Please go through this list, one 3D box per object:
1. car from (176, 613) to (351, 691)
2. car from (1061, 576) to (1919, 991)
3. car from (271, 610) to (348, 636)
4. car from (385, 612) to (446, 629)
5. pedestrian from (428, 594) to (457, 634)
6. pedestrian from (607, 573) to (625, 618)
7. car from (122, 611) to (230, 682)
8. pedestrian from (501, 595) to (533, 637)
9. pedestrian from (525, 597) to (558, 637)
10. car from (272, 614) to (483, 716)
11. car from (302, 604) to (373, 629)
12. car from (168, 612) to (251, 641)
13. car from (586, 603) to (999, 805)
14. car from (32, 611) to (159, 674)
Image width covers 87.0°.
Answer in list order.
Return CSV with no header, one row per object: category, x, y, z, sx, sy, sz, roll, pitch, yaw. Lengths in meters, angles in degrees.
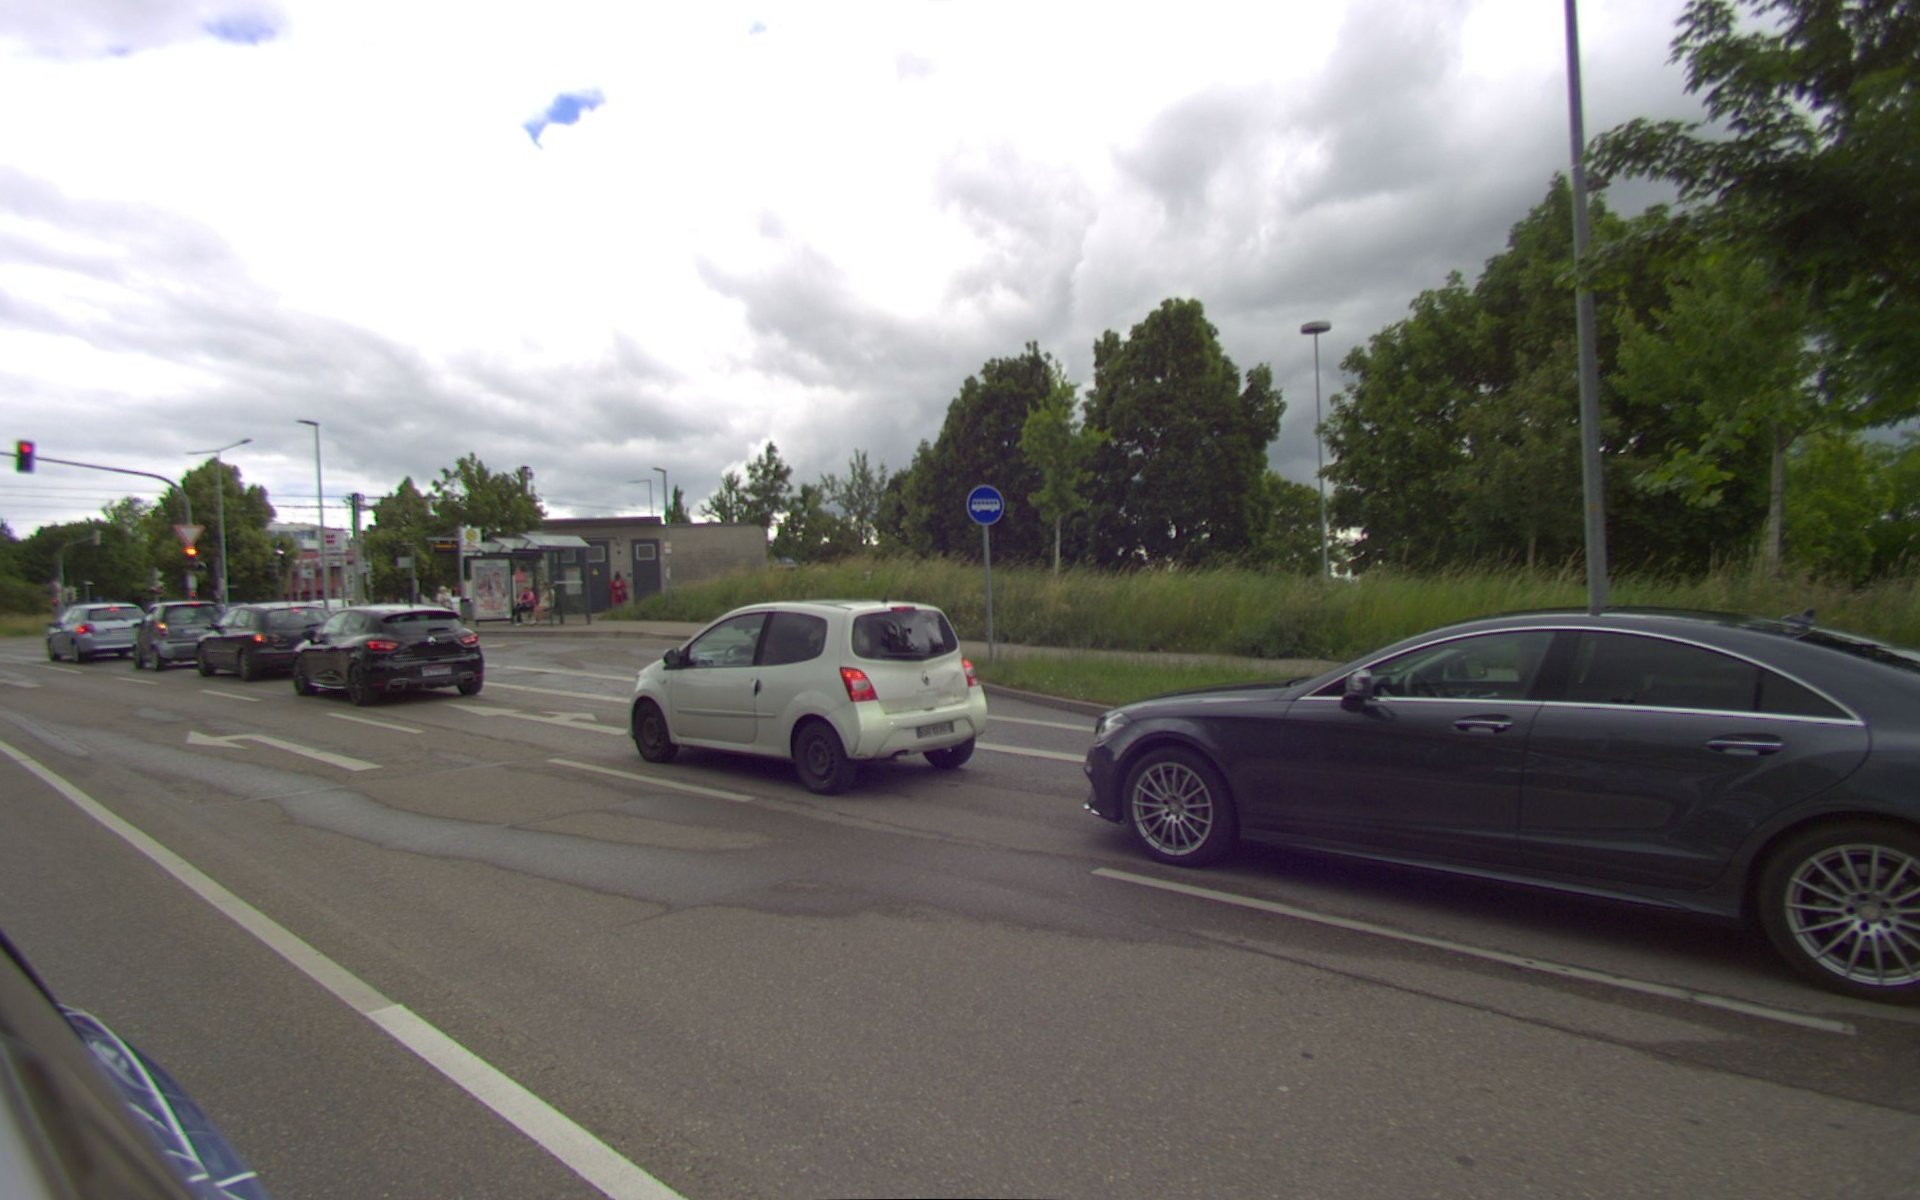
car,-14.056,0.996,20.339,4.376,1.342,1.781,-2,0,40
car,2.953,0.635,4.775,4.883,1.401,1.622,-2,0,41
car,-49.448,1.714,76.980,1.806,1.805,4.653,-2,-1,27
car,-45.148,1.730,83.995,1.807,1.351,4.179,-2,-3,30
pedestrian,-18.082,0.496,35.335,0.772,1.374,0.544,-2,0,34
pedestrian,-13.176,-0.176,38.748,0.541,1.682,0.430,-2,0,-12
car,-18.529,1.071,23.892,2.772,1.538,1.414,-2,0,39
pedestrian,-14.671,0.539,33.499,0.549,1.340,0.765,-2,0,33
pedestrian,-13.562,0.551,32.788,0.549,1.236,0.765,-2,0,33
car,-9.148,0.939,15.761,4.059,1.342,1.622,-2,0,41
car,-50.045,1.351,81.455,2.173,1.920,4.414,-2,-3,26
car,-51.435,1.808,69.459,1.809,1.793,4.177,-2,0,32
car,-1.631,0.786,9.072,3.760,1.401,1.622,-2,0,41
car,-23.700,1.142,27.699,4.213,1.547,1.810,-2,0,38
